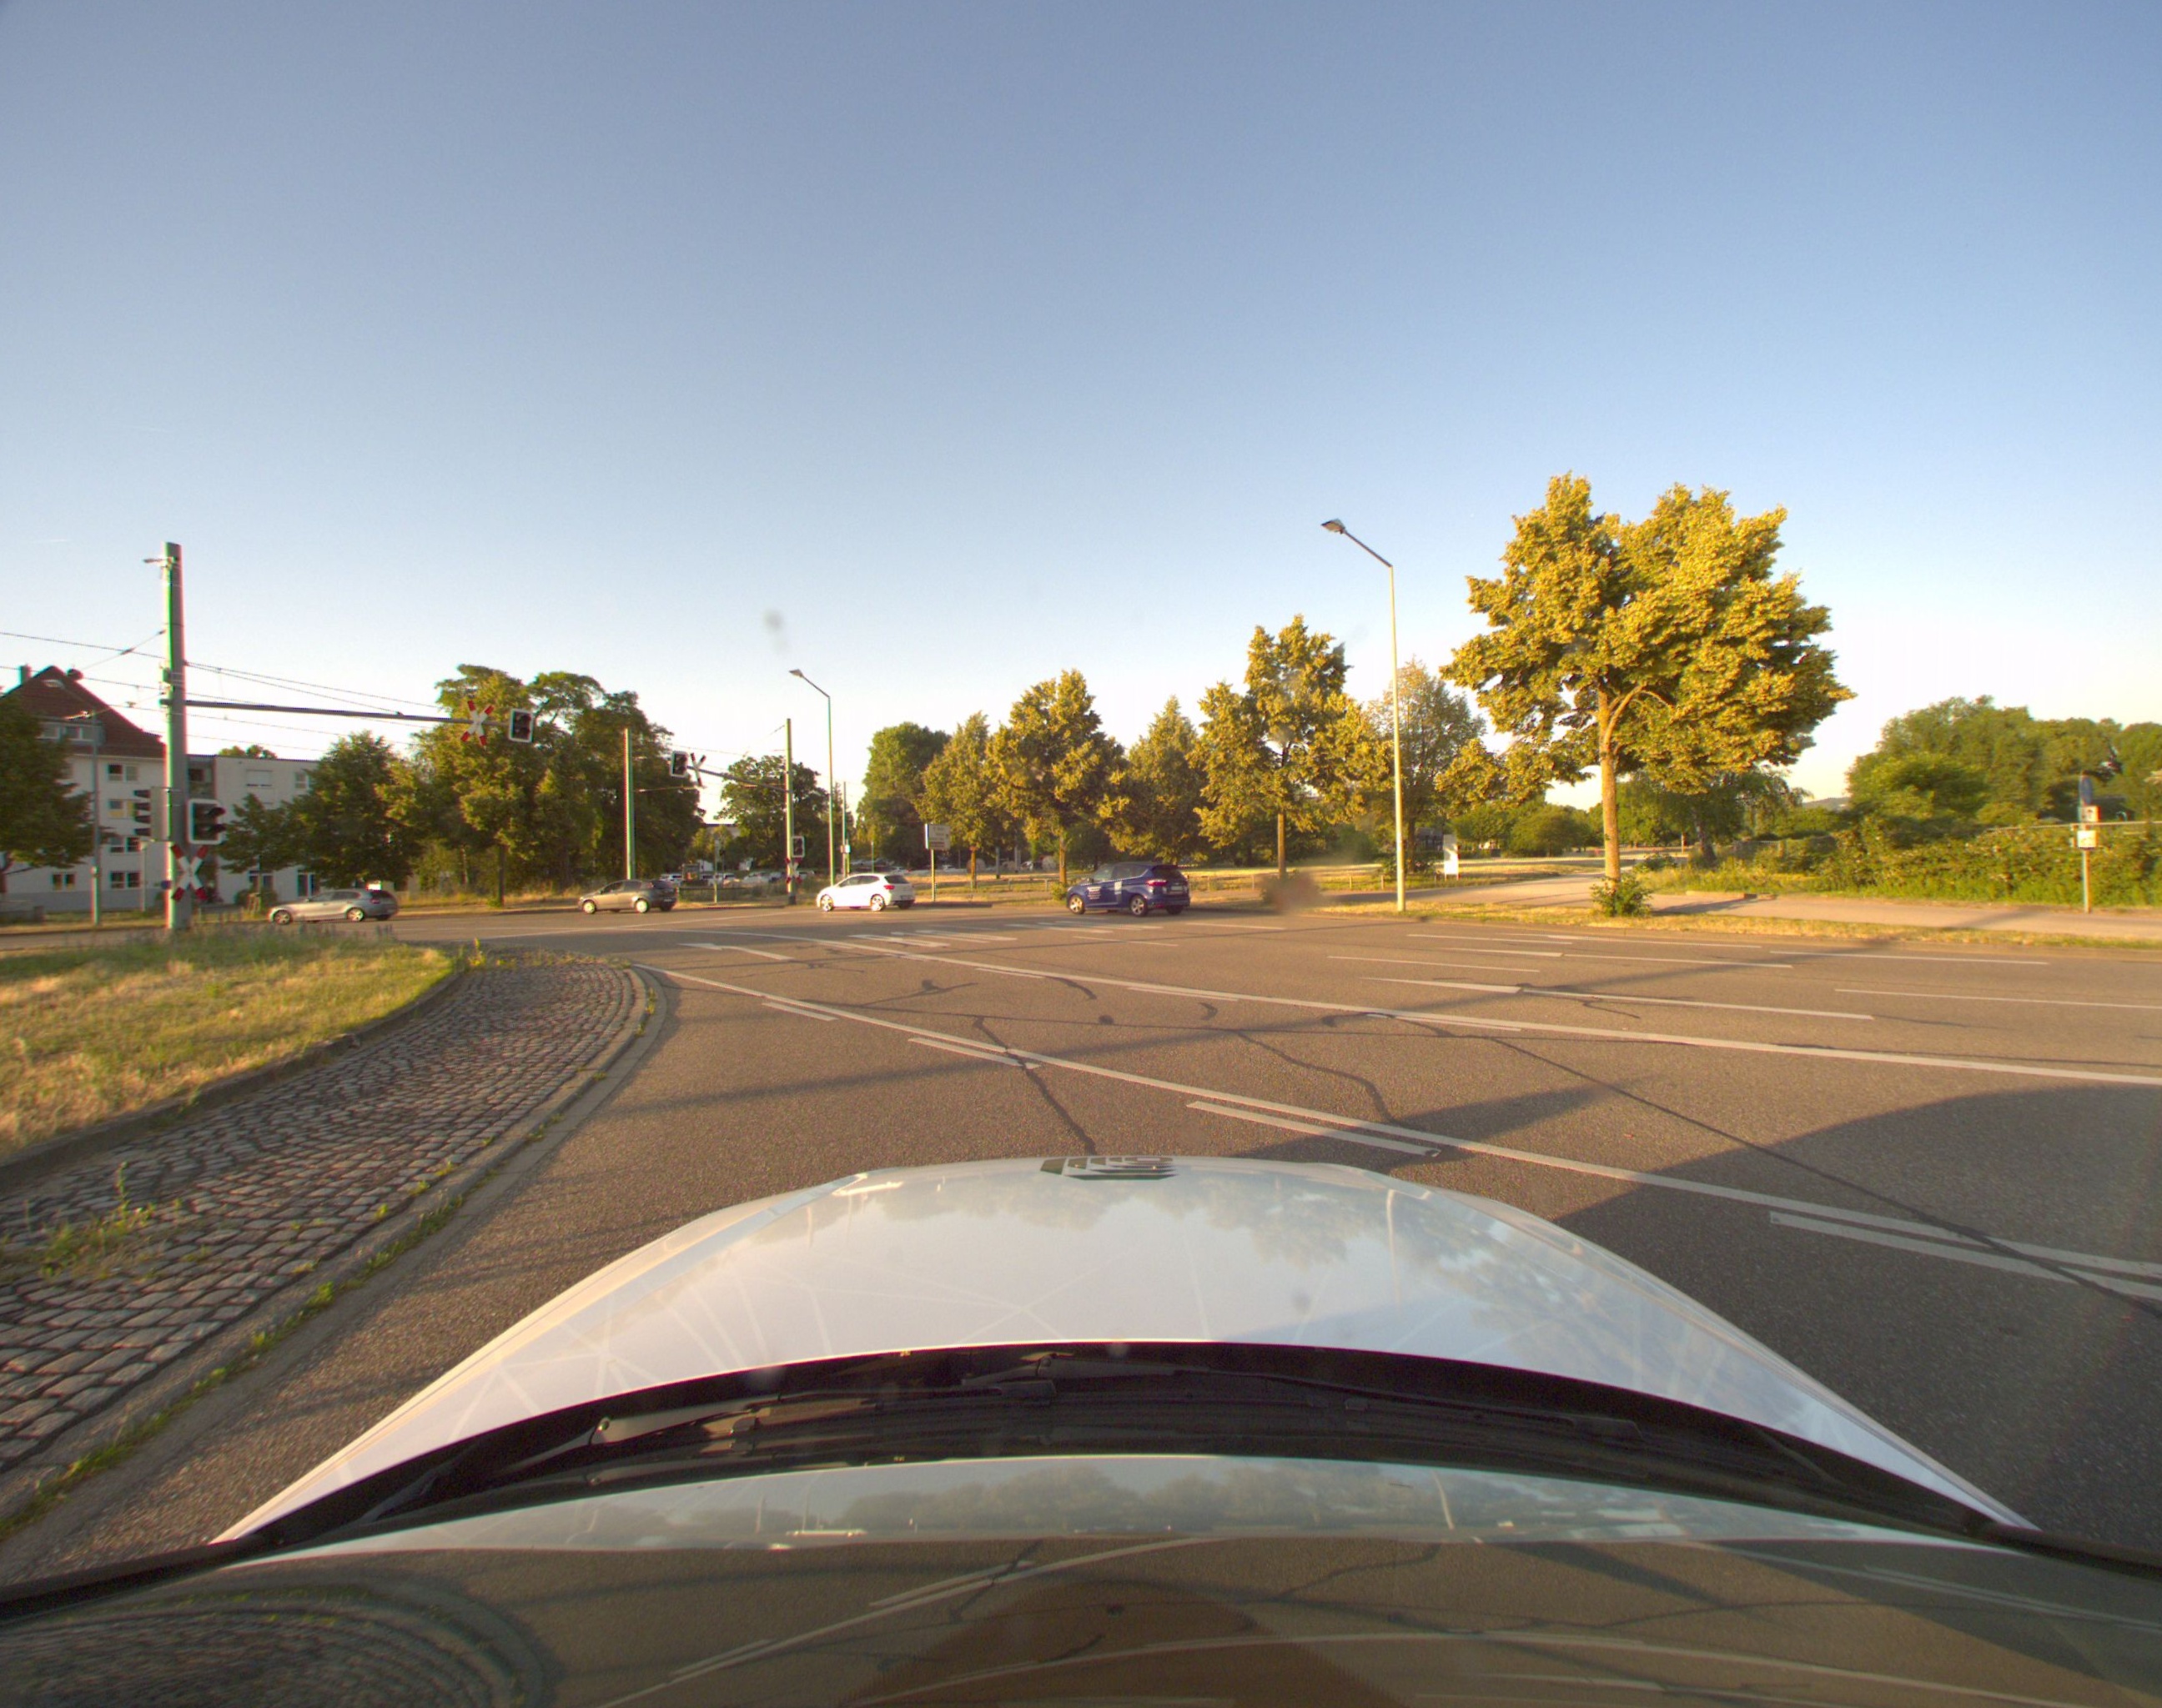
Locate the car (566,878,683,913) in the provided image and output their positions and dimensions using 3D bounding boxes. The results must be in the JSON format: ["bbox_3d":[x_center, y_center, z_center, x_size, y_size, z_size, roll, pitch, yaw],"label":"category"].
[{"bbox_3d":[-19.730,1.768,35.258,4.123,1.454,1.873,0,-2,10],"label":"car"}]

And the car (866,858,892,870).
[{"bbox_3d":[-37.215,1.883,150.080,1.975,2.013,4.024,-2,0,43],"label":"car"}]

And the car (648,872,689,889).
[{"bbox_3d":[-42.230,2.738,83.379,3.948,1.604,2.013,-2,0,35],"label":"car"}]

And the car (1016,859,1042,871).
[{"bbox_3d":[-7.382,1.600,115.150,1.748,1.618,3.954,-1,0,-38],"label":"car"}]

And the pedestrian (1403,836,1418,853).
[{"bbox_3d":[31.584,-0.898,78.012,1.064,1.617,0.912,-2,0,5],"label":"pedestrian"}]

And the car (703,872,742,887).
[{"bbox_3d":[-38.579,2.748,87.579,3.948,1.604,2.013,-2,0,35],"label":"car"}]

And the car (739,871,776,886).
[{"bbox_3d":[-36.588,2.773,92.089,3.948,1.604,2.013,-2,0,35],"label":"car"}]

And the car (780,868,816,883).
[{"bbox_3d":[-33.220,2.517,95.442,3.948,1.604,2.013,-2,0,35],"label":"car"}]

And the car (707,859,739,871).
[{"bbox_3d":[-61.232,1.891,139.216,1.974,2.013,4.628,-2,0,36],"label":"car"}]

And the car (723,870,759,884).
[{"bbox_3d":[-45.567,3.094,109.217,1.878,1.662,4.026,-2,0,37],"label":"car"}]

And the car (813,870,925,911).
[{"bbox_3d":[-8.272,1.418,31.774,3.921,1.454,1.879,-2,0,28],"label":"car"}]

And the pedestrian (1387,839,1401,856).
[{"bbox_3d":[30.321,-0.594,78.945,1.064,1.617,0.912,-2,0,5],"label":"pedestrian"}]

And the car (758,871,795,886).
[{"bbox_3d":[-35.036,2.776,93.691,3.948,1.604,2.013,-2,0,35],"label":"car"}]

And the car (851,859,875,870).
[{"bbox_3d":[-40.989,1.995,153.077,1.974,1.816,4.026,-2,0,37],"label":"car"}]

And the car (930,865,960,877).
[{"bbox_3d":[-19.412,2.452,116.427,3.948,1.604,2.013,-2,0,35],"label":"car"}]

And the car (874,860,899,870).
[{"bbox_3d":[-34.957,1.991,146.462,3.963,1.706,2.005,-2,0,9],"label":"car"}]

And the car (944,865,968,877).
[{"bbox_3d":[-19.926,2.617,129.545,2.008,1.752,4.549,-1,1,-34],"label":"car"}]

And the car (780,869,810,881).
[{"bbox_3d":[-40.720,2.966,116.045,4.000,1.662,1.890,-2,0,-20],"label":"car"}]

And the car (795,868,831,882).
[{"bbox_3d":[-32.144,2.528,97.616,3.948,1.604,2.013,-2,0,35],"label":"car"}]

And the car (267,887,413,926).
[{"bbox_3d":[-31.318,2.187,34.559,4.151,1.390,1.860,-2,0,-12],"label":"car"}]

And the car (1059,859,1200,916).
[{"bbox_3d":[1.438,0.977,25.186,1.927,1.583,4.129,0,0,-44],"label":"car"}]

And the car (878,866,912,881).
[{"bbox_3d":[-27.061,2.766,118.495,4.578,2.013,1.995,-2,0,-7],"label":"car"}]

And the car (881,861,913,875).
[{"bbox_3d":[-28.646,2.177,126.708,4.578,2.013,1.995,-2,0,-7],"label":"car"}]

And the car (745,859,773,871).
[{"bbox_3d":[-57.255,1.914,144.876,1.974,2.013,4.142,-2,0,36],"label":"car"}]

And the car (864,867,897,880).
[{"bbox_3d":[-26.141,2.557,105.965,3.948,1.604,2.013,-2,0,35],"label":"car"}]

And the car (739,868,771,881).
[{"bbox_3d":[-45.658,2.867,114.018,4.005,1.662,1.984,-2,0,-24],"label":"car"}]

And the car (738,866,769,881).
[{"bbox_3d":[-47.768,2.869,118.774,4.005,2.013,1.984,-2,0,-24],"label":"car"}]

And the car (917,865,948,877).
[{"bbox_3d":[-20.895,2.394,114.740,3.948,1.604,2.013,-2,0,35],"label":"car"}]

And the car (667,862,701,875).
[{"bbox_3d":[-64.998,2.333,133.495,1.974,2.013,4.627,-2,0,32],"label":"car"}]
